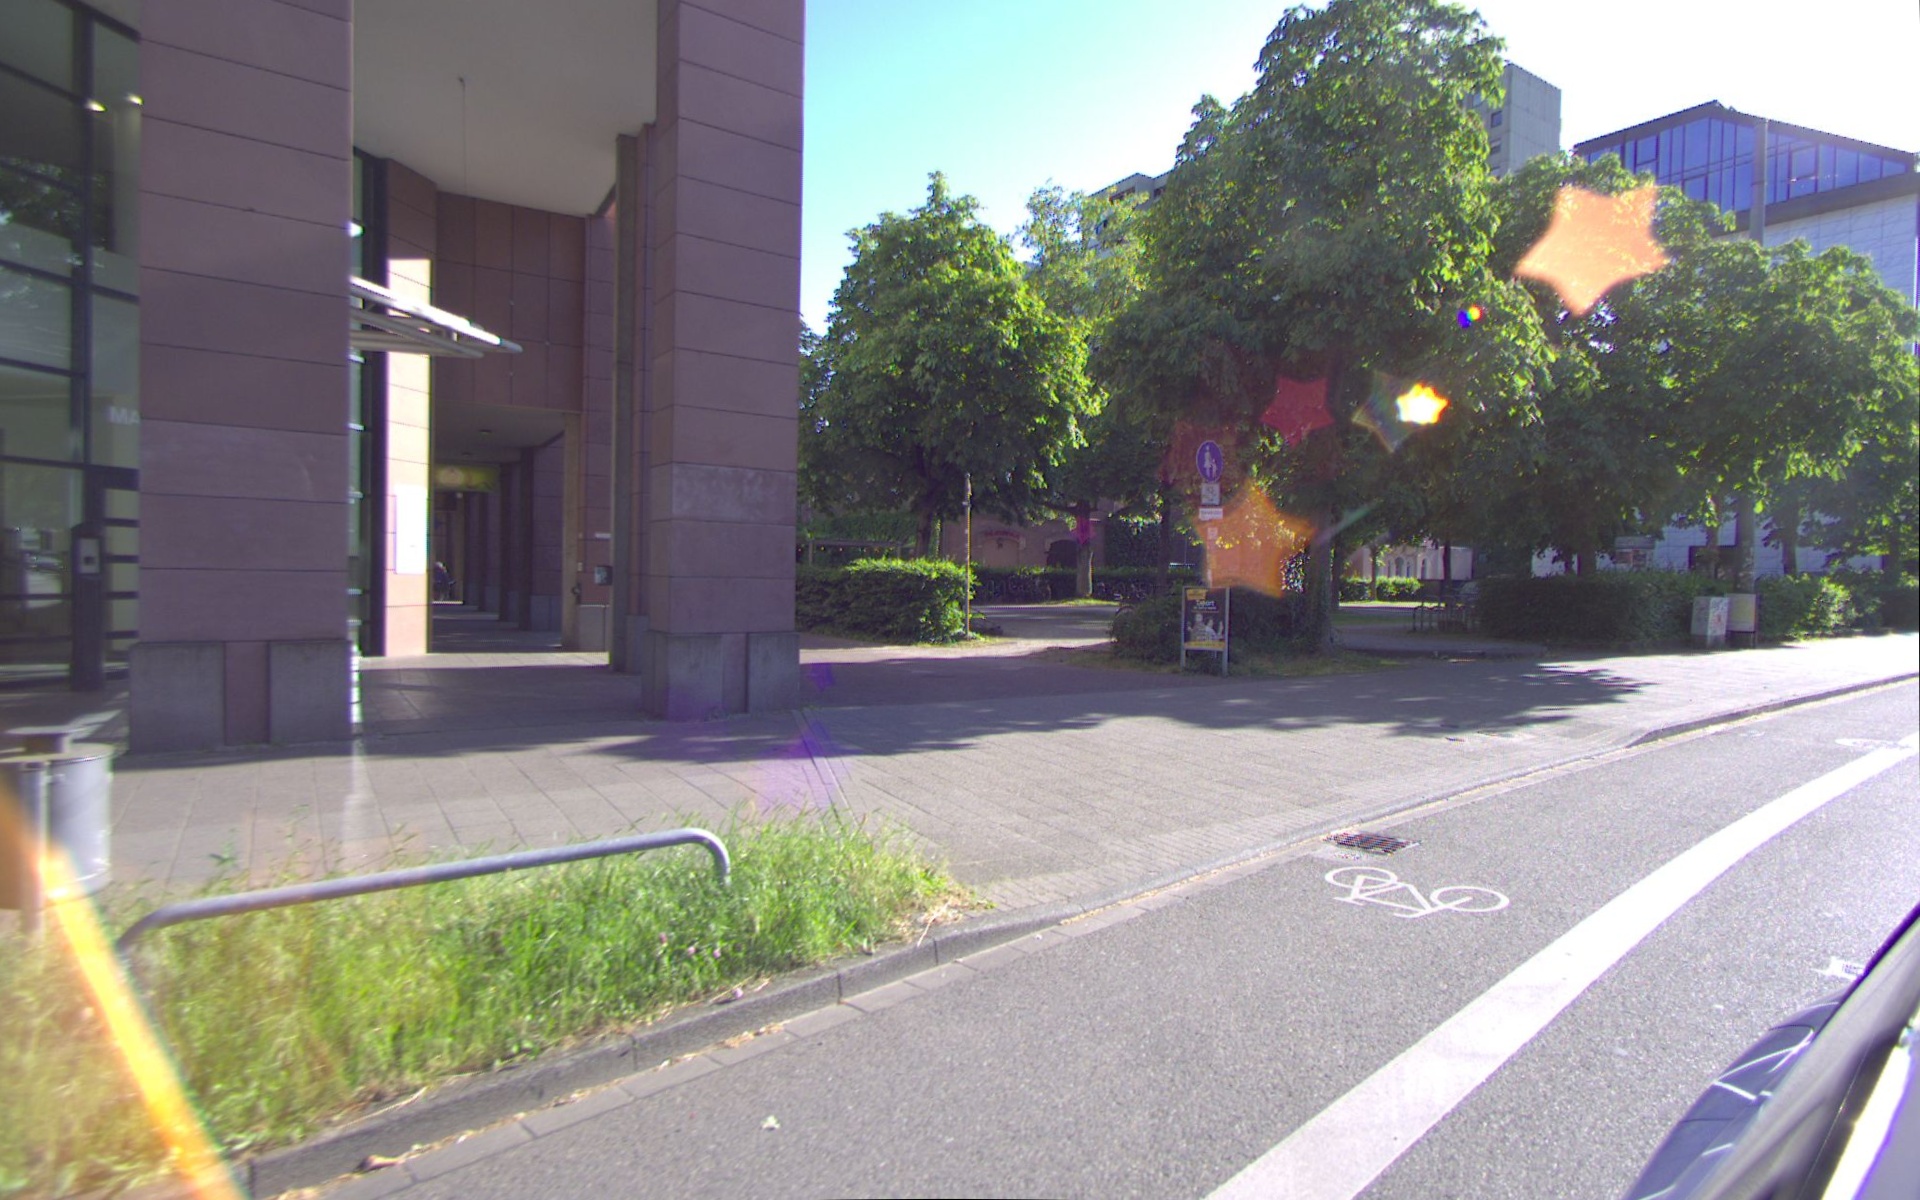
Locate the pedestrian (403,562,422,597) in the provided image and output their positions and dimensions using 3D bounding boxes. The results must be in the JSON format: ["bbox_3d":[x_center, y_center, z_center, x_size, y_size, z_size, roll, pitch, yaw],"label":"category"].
[{"bbox_3d":[-19.777,-0.736,36.543,0.566,1.247,0.493,0,1,-34],"label":"pedestrian"}]

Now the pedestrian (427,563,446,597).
[{"bbox_3d":[-19.114,-0.730,36.954,0.566,1.247,0.493,0,1,-34],"label":"pedestrian"}]

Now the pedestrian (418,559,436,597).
[{"bbox_3d":[-20.124,-0.843,38.212,0.566,1.417,0.493,0,1,-34],"label":"pedestrian"}]

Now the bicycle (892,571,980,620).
[{"bbox_3d":[-0.591,-0.116,24.848,2.087,1.144,0.453,-1,0,-18],"label":"bicycle"}]

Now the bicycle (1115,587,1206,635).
[{"bbox_3d":[3.757,0.202,18.993,1.660,0.873,0.318,0,0,27],"label":"bicycle"}]
